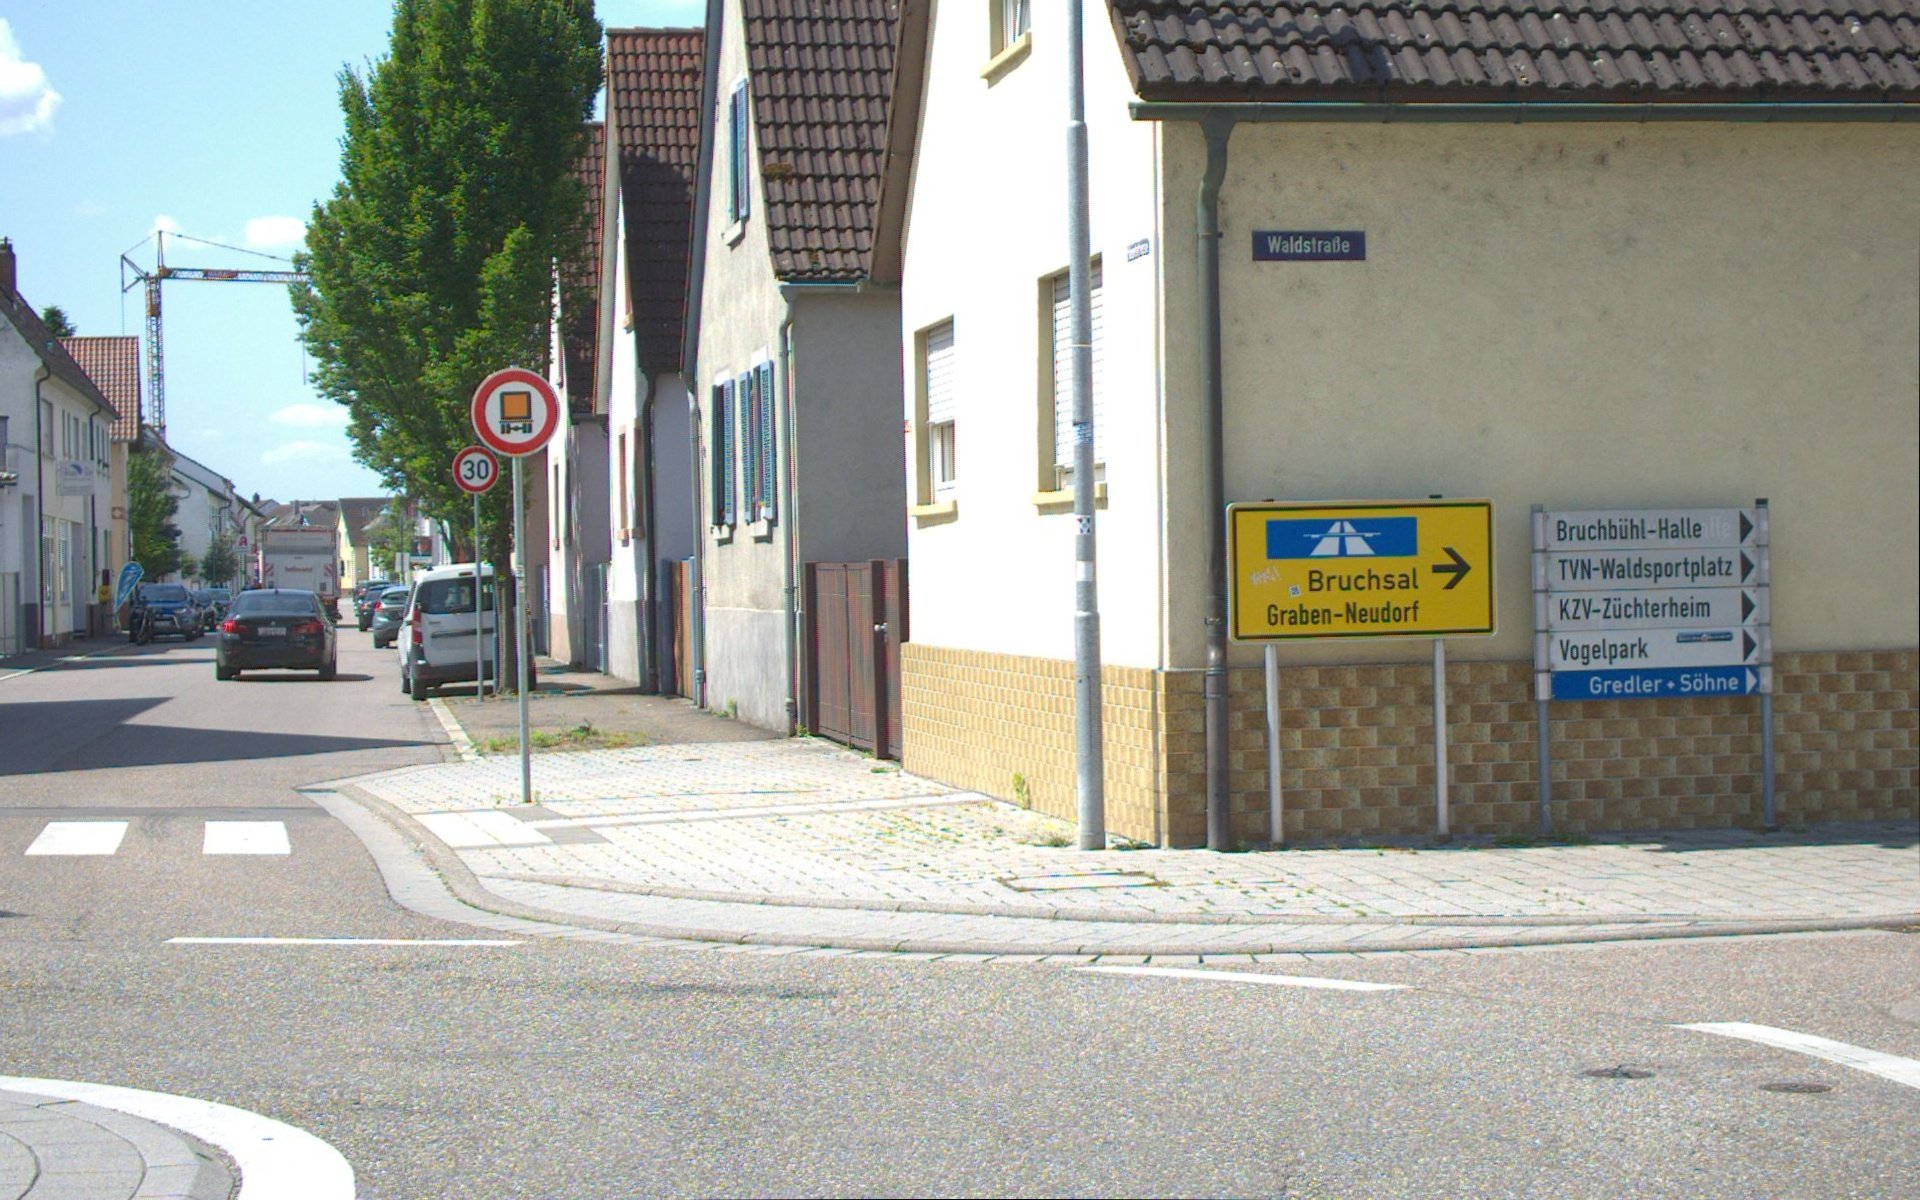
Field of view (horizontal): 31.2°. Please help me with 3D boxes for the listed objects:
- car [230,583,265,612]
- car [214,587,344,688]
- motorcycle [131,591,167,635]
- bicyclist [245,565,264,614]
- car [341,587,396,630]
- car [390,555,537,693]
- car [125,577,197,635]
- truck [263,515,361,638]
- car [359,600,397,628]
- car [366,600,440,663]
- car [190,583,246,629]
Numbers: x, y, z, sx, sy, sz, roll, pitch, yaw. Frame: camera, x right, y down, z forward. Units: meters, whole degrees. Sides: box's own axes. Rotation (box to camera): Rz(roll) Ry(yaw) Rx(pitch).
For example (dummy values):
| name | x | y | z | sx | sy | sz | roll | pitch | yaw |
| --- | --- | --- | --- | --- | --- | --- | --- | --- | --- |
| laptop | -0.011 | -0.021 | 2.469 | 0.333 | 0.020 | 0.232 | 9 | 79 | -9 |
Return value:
| name | x | y | z | sx | sy | sz | roll | pitch | yaw |
| --- | --- | --- | --- | --- | --- | --- | --- | --- | --- |
| car | -39.549 | -0.156 | 190.942 | 1.809 | 1.583 | 4.001 | 0 | 0 | -11 |
| car | -11.133 | 0.584 | 56.420 | 1.901 | 1.558 | 4.477 | 0 | 1 | -9 |
| motorcycle | -22.048 | 0.362 | 93.455 | 0.846 | 1.166 | 2.470 | 1 | 0 | -11 |
| bicyclist | -29.923 | -0.454 | 145.763 | 0.740 | 2.052 | 0.844 | 1 | 0 | -13 |
| car | -19.283 | 0.276 | 112.049 | 1.719 | 1.350 | 4.157 | 0 | 0 | -10 |
| car | -6.989 | 0.307 | 48.111 | 1.719 | 1.784 | 4.145 | -2 | 1 | -12 |
| car | -22.585 | 0.156 | 97.275 | 1.808 | 1.583 | 4.001 | 0 | 0 | -11 |
| truck | -23.441 | -0.799 | 124.685 | 3.144 | 4.236 | 9.304 | 1 | 0 | -9 |
| car | -27.143 | 0.653 | 160.288 | 1.719 | 1.264 | 4.157 | 0 | 0 | -10 |
| car | -13.622 | 0.746 | 84.207 | 1.719 | 1.456 | 4.157 | 0 | 0 | -8 |
| car | -26.283 | 0.210 | 121.866 | 1.808 | 1.583 | 4.001 | 0 | 0 | -11 |
